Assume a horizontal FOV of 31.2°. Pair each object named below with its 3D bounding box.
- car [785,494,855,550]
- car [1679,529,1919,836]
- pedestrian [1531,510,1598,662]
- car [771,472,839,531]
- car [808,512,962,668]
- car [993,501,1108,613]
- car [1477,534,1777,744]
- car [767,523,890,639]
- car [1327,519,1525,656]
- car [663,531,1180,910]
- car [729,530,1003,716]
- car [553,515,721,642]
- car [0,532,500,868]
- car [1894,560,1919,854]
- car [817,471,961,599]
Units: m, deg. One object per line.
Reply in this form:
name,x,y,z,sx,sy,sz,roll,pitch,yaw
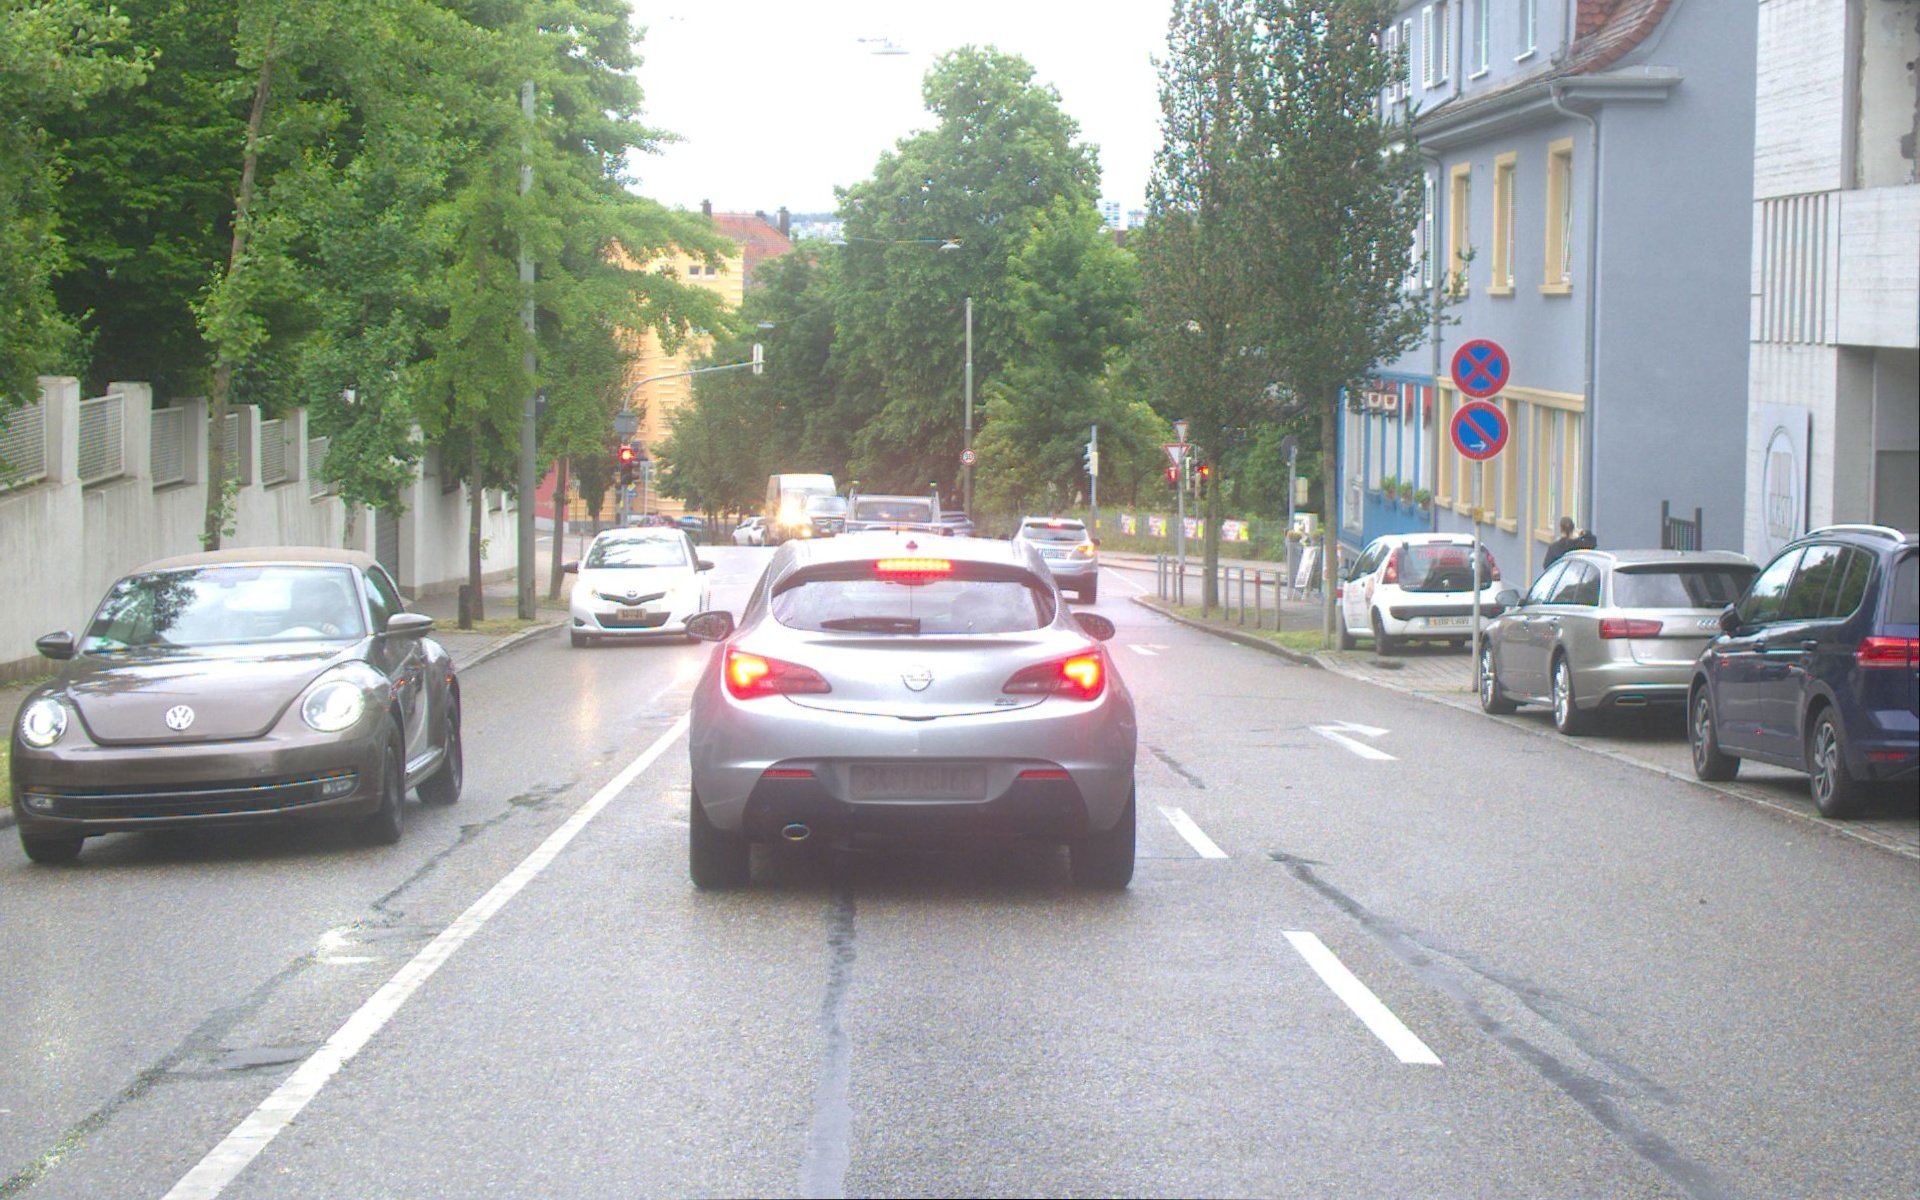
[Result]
car,-4.344,-2.455,107.250,1.993,1.530,4.309,4,2,-1
car,5.530,0.403,20.360,1.685,1.565,4.001,0,2,0
pedestrian,7.161,-0.172,40.748,0.645,1.778,0.542,1,2,0
car,-5.118,-3.271,113.703,1.993,1.778,4.001,4,2,-1
car,-1.021,-0.174,44.701,1.768,1.775,3.977,4,2,-3
car,1.793,-0.907,69.681,1.993,2.029,4.736,4,2,-1
car,5.322,0.253,27.913,1.584,1.488,4.290,0,2,0
car,-2.085,-0.328,53.856,1.754,1.645,4.001,4,1,-3
car,5.735,-0.192,42.751,1.906,1.565,4.001,0,2,0
car,-0.311,0.434,15.207,1.945,1.427,3.885,1,1,-5
car,-0.821,0.144,27.277,1.797,1.318,4.001,2,1,-7
car,-4.223,-0.322,45.482,1.822,1.474,3.864,-3,2,0
car,-3.604,0.419,17.821,1.850,1.464,4.088,-3,1,0
car,5.650,0.598,15.651,1.681,1.459,4.001,0,2,0
car,-1.248,-1.197,61.043,2.334,2.029,4.735,4,2,-1
